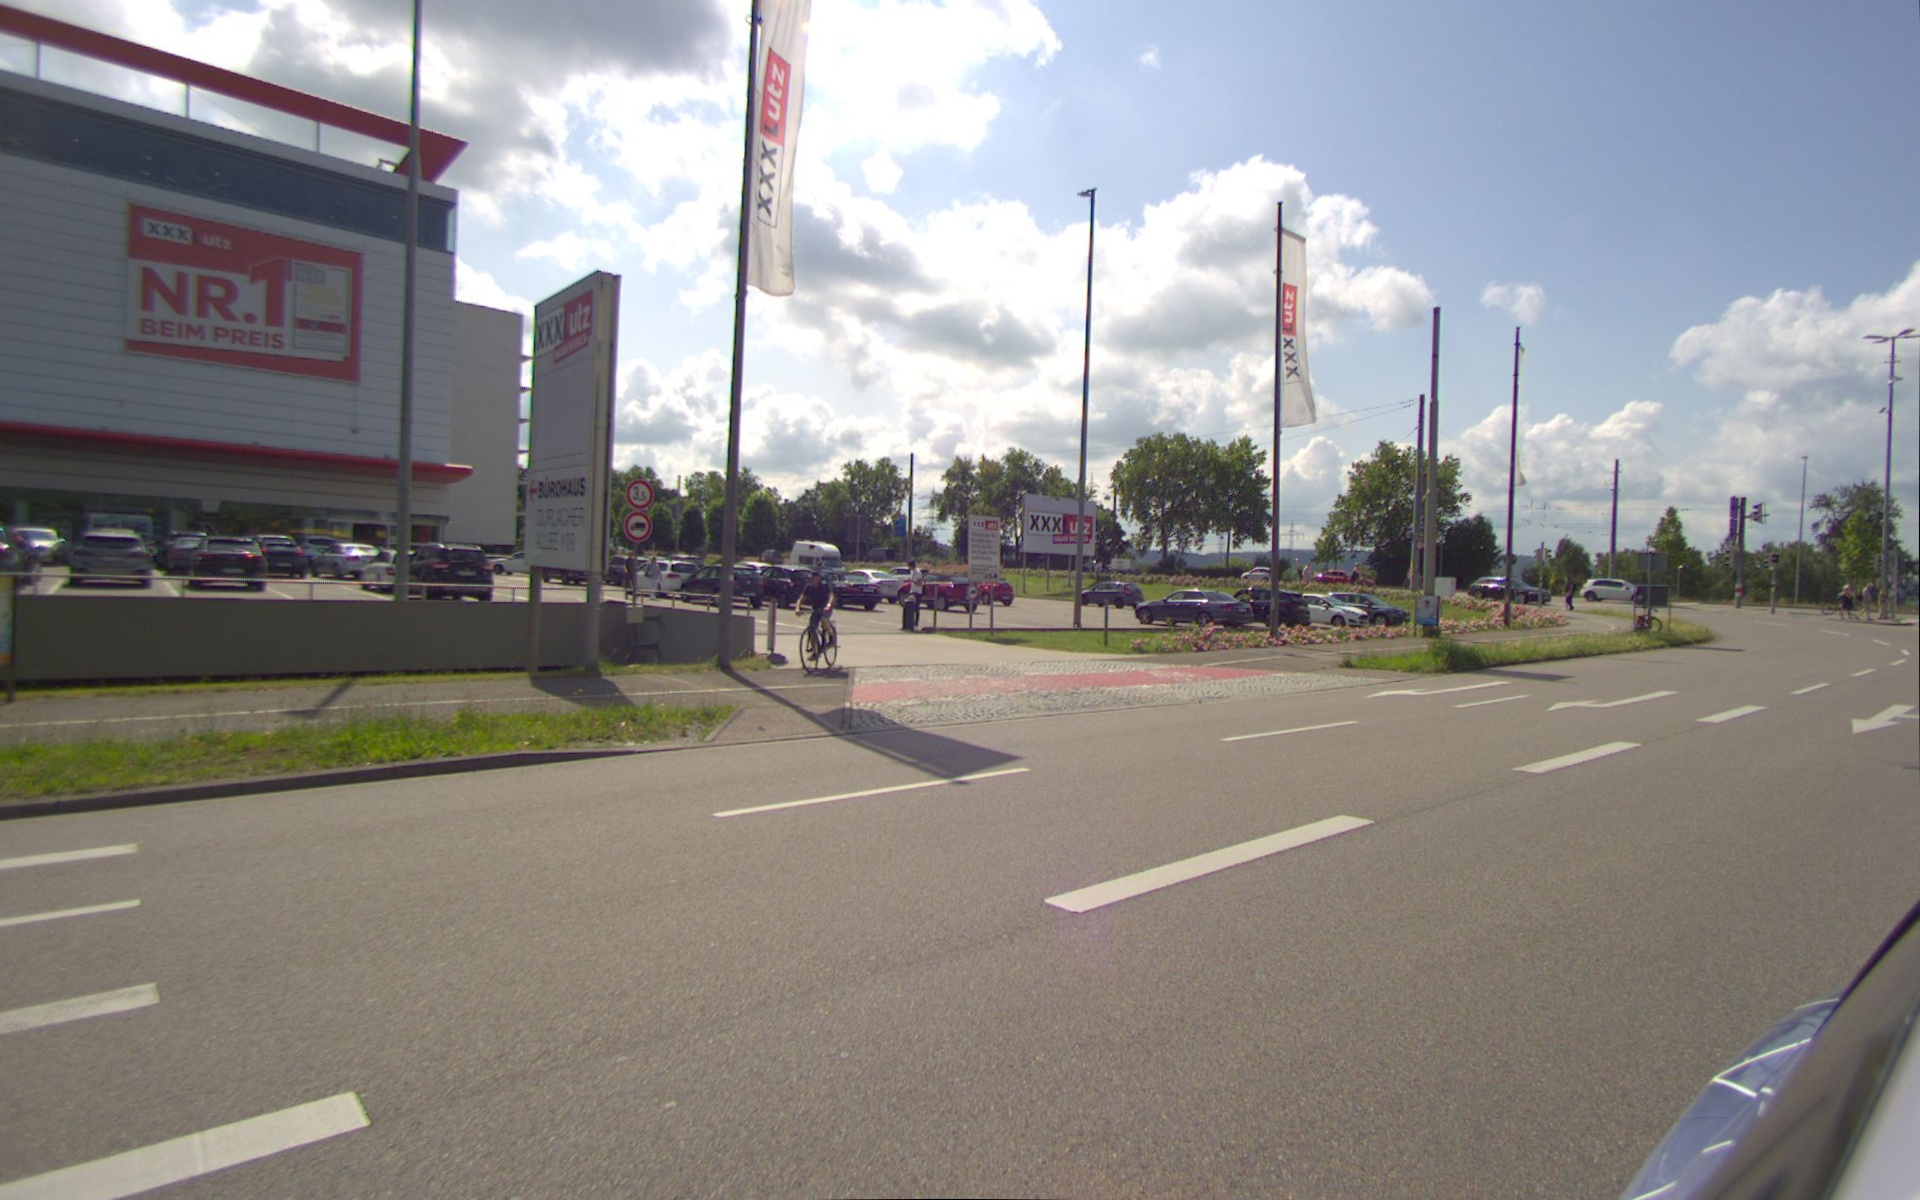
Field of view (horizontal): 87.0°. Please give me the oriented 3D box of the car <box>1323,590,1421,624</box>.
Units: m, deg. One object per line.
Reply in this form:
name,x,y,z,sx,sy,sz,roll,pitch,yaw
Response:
car,19.624,0.294,48.355,1.686,1.435,3.994,0,2,-42

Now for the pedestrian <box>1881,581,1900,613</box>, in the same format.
pedestrian,45.257,-0.140,49.232,0.460,1.543,0.557,2,0,-32

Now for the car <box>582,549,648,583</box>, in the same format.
car,-16.978,-1.668,49.686,1.817,1.571,4.058,0,1,-39

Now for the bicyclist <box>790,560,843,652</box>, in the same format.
bicyclist,-2.306,0.084,16.352,0.607,1.430,0.712,2,1,11

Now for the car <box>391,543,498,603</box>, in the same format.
car,-15.267,-0.826,29.862,1.713,1.550,4.059,0,4,-43

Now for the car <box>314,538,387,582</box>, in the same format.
car,-25.199,-1.675,41.807,1.677,1.529,4.159,2,3,-44

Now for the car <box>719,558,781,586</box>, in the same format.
car,-11.558,-1.539,55.462,1.638,1.470,3.996,2,1,-39

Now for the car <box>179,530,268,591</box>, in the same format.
car,-22.656,-1.257,31.064,1.783,1.640,4.368,2,2,-41

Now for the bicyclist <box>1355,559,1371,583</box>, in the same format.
bicyclist,25.823,-1.844,64.835,0.639,1.494,0.742,2,0,-40

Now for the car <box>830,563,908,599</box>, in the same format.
car,-4.266,-0.903,46.968,1.573,1.379,4.036,2,2,-38

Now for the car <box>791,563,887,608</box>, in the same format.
car,-4.761,-0.593,39.363,1.651,1.527,4.372,1,3,-38

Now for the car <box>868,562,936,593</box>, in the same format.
car,-3.569,-1.380,61.254,1.821,1.607,4.233,2,2,-42

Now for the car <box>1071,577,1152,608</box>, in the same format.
car,8.630,-0.448,58.033,2.011,1.426,4.372,2,3,-38

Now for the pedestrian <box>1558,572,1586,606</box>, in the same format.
pedestrian,32.703,-0.599,54.085,0.848,1.787,0.864,1,1,-14

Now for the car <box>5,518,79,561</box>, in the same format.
car,-35.852,-2.322,39.623,1.871,1.482,3.997,2,1,-39

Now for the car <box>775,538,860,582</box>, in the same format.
car,-11.179,-3.114,78.596,3.065,3.193,7.903,0,2,-37

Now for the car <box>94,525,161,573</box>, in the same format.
car,-33.943,-2.080,41.307,1.964,1.771,3.997,2,1,-39

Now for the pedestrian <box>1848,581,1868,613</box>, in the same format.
pedestrian,43.739,-0.130,49.309,0.460,1.543,0.586,0,1,-32

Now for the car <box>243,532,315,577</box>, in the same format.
car,-27.225,-1.835,40.403,1.821,1.607,4.233,2,2,-42

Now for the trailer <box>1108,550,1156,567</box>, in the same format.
trailer,19.248,-4.602,113.633,5.162,1.854,1.798,2,2,42

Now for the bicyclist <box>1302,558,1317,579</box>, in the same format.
bicyclist,23.419,-2.117,67.837,0.583,1.342,0.686,2,1,-43

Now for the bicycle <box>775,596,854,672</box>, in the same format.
bicycle,-2.317,0.508,16.356,0.615,1.081,1.961,3,2,11

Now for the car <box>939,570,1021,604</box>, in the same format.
car,0.985,-0.697,51.875,1.813,1.445,4.372,2,2,-38

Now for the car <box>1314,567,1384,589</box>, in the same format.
car,26.994,-1.555,70.276,1.717,1.377,4.248,0,3,-38

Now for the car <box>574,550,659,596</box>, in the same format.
car,-13.347,-1.069,39.210,1.665,1.607,4.022,2,1,-41

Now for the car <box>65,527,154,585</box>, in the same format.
car,-24.751,-1.257,29.402,1.859,1.518,4.366,0,2,-42

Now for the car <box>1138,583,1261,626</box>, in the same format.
car,9.010,0.125,38.346,1.823,1.495,4.370,0,1,-38

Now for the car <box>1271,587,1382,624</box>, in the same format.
car,16.292,0.216,45.190,1.764,1.457,4.369,0,2,-40

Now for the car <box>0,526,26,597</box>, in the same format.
car,-23.602,-0.991,24.194,1.734,1.571,4.191,2,2,-41

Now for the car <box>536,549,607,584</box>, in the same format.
car,-18.567,-1.603,48.312,1.964,1.527,3.996,2,1,-40

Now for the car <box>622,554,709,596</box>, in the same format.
car,-11.806,-1.008,40.435,1.793,1.527,4.158,2,1,-40

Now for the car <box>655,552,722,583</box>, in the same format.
car,-15.017,-1.791,55.906,1.964,1.607,4.234,2,1,-40

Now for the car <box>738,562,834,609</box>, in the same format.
car,-6.581,-0.577,37.975,1.597,1.460,4.372,2,2,-38

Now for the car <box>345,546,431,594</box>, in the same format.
car,-19.250,-1.032,33.991,1.728,1.445,4.299,3,0,-40

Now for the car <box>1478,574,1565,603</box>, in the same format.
car,33.160,-0.691,59.887,1.876,1.501,4.212,0,3,-22

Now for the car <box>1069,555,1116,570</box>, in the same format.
car,15.329,-4.378,117.133,5.232,1.593,1.970,3,2,42

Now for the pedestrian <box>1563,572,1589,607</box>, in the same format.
pedestrian,32.046,-0.553,52.668,0.744,1.825,0.824,1,1,-13

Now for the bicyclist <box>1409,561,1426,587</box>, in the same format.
bicyclist,27.851,-1.589,61.641,0.609,1.555,0.697,2,0,-36

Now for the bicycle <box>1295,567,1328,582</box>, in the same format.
bicycle,23.512,-1.726,67.721,0.587,0.973,1.984,2,0,-43

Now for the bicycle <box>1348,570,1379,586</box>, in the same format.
bicycle,25.824,-1.436,64.810,0.654,0.973,1.694,2,0,-40

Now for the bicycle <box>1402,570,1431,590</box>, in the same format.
bicycle,27.817,-1.220,61.649,0.609,1.180,1.505,2,0,-36

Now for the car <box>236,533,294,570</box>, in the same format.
car,-31.192,-2.156,45.374,1.676,1.530,4.348,2,1,-41

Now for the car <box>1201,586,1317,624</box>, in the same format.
car,12.341,0.185,41.986,1.824,1.434,4.368,0,1,-40

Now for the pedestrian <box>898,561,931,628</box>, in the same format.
pedestrian,-1.241,-0.152,27.726,0.855,1.805,0.784,2,0,-1

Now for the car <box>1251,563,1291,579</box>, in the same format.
car,31.034,-2.849,100.978,3.477,1.474,1.676,-1,1,42

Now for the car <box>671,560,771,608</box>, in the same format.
car,-8.651,-0.616,36.403,1.813,1.378,4.373,0,5,-38

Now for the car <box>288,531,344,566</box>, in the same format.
car,-34.874,-2.761,54.759,1.965,1.745,3.994,2,1,-41

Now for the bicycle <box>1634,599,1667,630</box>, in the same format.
bicycle,22.371,0.457,32.780,1.517,0.964,0.518,0,1,-41

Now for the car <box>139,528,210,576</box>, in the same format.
car,-29.877,-1.854,38.436,1.821,1.607,4.233,2,2,-42

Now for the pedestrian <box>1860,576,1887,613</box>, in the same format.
pedestrian,43.540,-0.257,48.236,0.686,1.749,0.690,0,2,-29

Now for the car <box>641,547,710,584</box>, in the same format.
car,-14.188,-1.731,50.335,1.964,1.760,3.998,0,2,-38

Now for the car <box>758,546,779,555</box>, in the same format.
car,-32.879,-8.448,173.831,1.902,1.382,3.736,2,1,-42

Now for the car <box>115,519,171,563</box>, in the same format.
car,-40.352,-2.868,49.957,1.965,2.039,3.994,2,0,-41

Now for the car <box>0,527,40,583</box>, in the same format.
car,-26.967,-1.317,28.300,1.697,1.482,3.995,2,2,-41

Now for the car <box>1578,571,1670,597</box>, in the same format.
car,41.851,-1.027,63.873,1.980,1.430,4.489,1,3,-43

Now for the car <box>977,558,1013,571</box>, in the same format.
car,4.673,-4.790,134.951,1.932,1.527,4.776,3,1,-41

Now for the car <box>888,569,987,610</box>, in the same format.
car,-1.012,-0.465,42.321,1.813,1.379,4.372,2,2,-38
